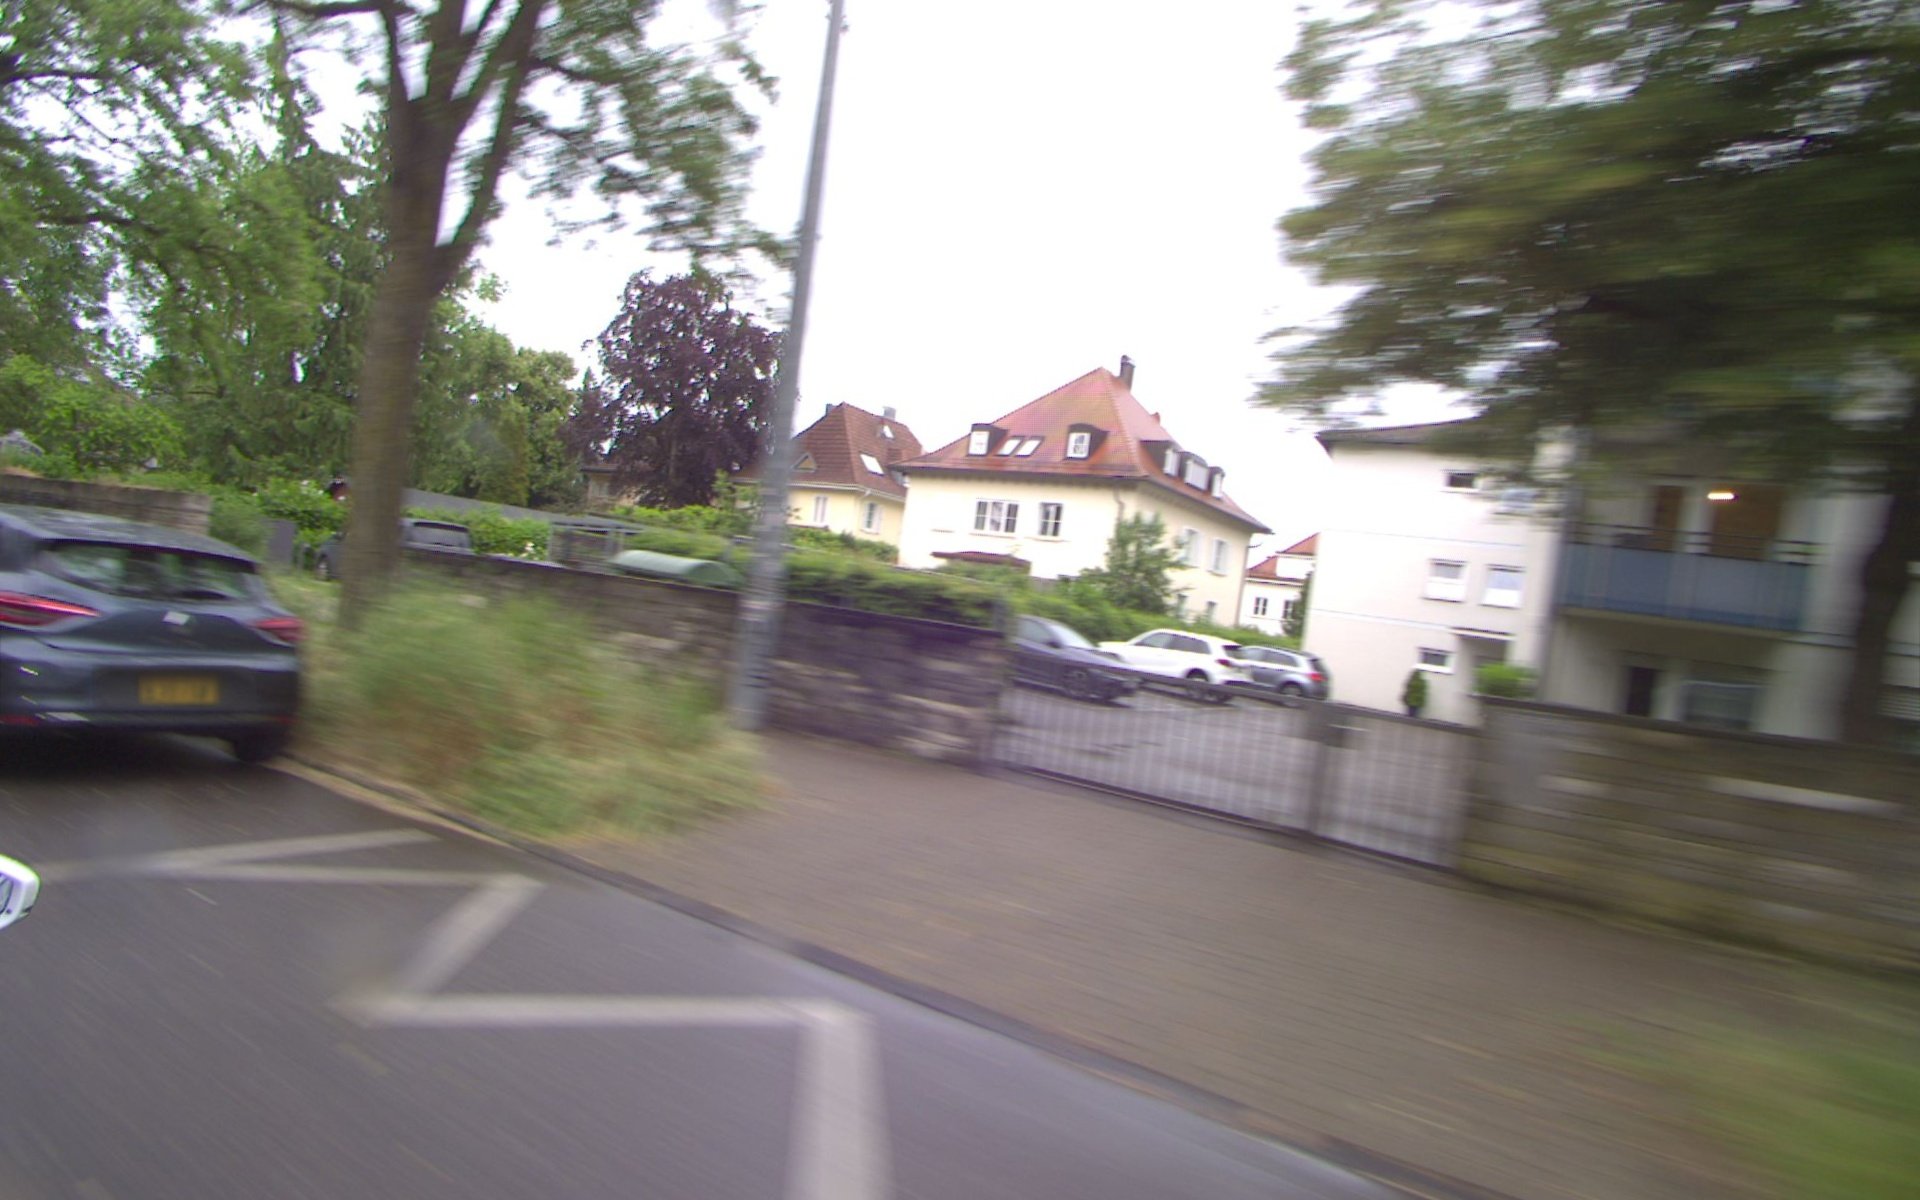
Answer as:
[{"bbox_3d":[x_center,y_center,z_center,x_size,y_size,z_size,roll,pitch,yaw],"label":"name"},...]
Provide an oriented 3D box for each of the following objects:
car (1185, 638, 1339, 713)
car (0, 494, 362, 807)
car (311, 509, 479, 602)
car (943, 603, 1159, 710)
[{"bbox_3d":[9.026,2.198,30.151,3.936,1.604,1.757,8,2,35],"label":"car"},{"bbox_3d":[-6.010,0.123,6.582,3.895,1.496,1.745,8,-1,29],"label":"car"},{"bbox_3d":[-14.524,-1.153,25.804,4.185,1.832,1.832,7,-1,32],"label":"car"},{"bbox_3d":[1.847,1.149,20.845,3.934,1.550,1.761,8,-1,32],"label":"car"}]
